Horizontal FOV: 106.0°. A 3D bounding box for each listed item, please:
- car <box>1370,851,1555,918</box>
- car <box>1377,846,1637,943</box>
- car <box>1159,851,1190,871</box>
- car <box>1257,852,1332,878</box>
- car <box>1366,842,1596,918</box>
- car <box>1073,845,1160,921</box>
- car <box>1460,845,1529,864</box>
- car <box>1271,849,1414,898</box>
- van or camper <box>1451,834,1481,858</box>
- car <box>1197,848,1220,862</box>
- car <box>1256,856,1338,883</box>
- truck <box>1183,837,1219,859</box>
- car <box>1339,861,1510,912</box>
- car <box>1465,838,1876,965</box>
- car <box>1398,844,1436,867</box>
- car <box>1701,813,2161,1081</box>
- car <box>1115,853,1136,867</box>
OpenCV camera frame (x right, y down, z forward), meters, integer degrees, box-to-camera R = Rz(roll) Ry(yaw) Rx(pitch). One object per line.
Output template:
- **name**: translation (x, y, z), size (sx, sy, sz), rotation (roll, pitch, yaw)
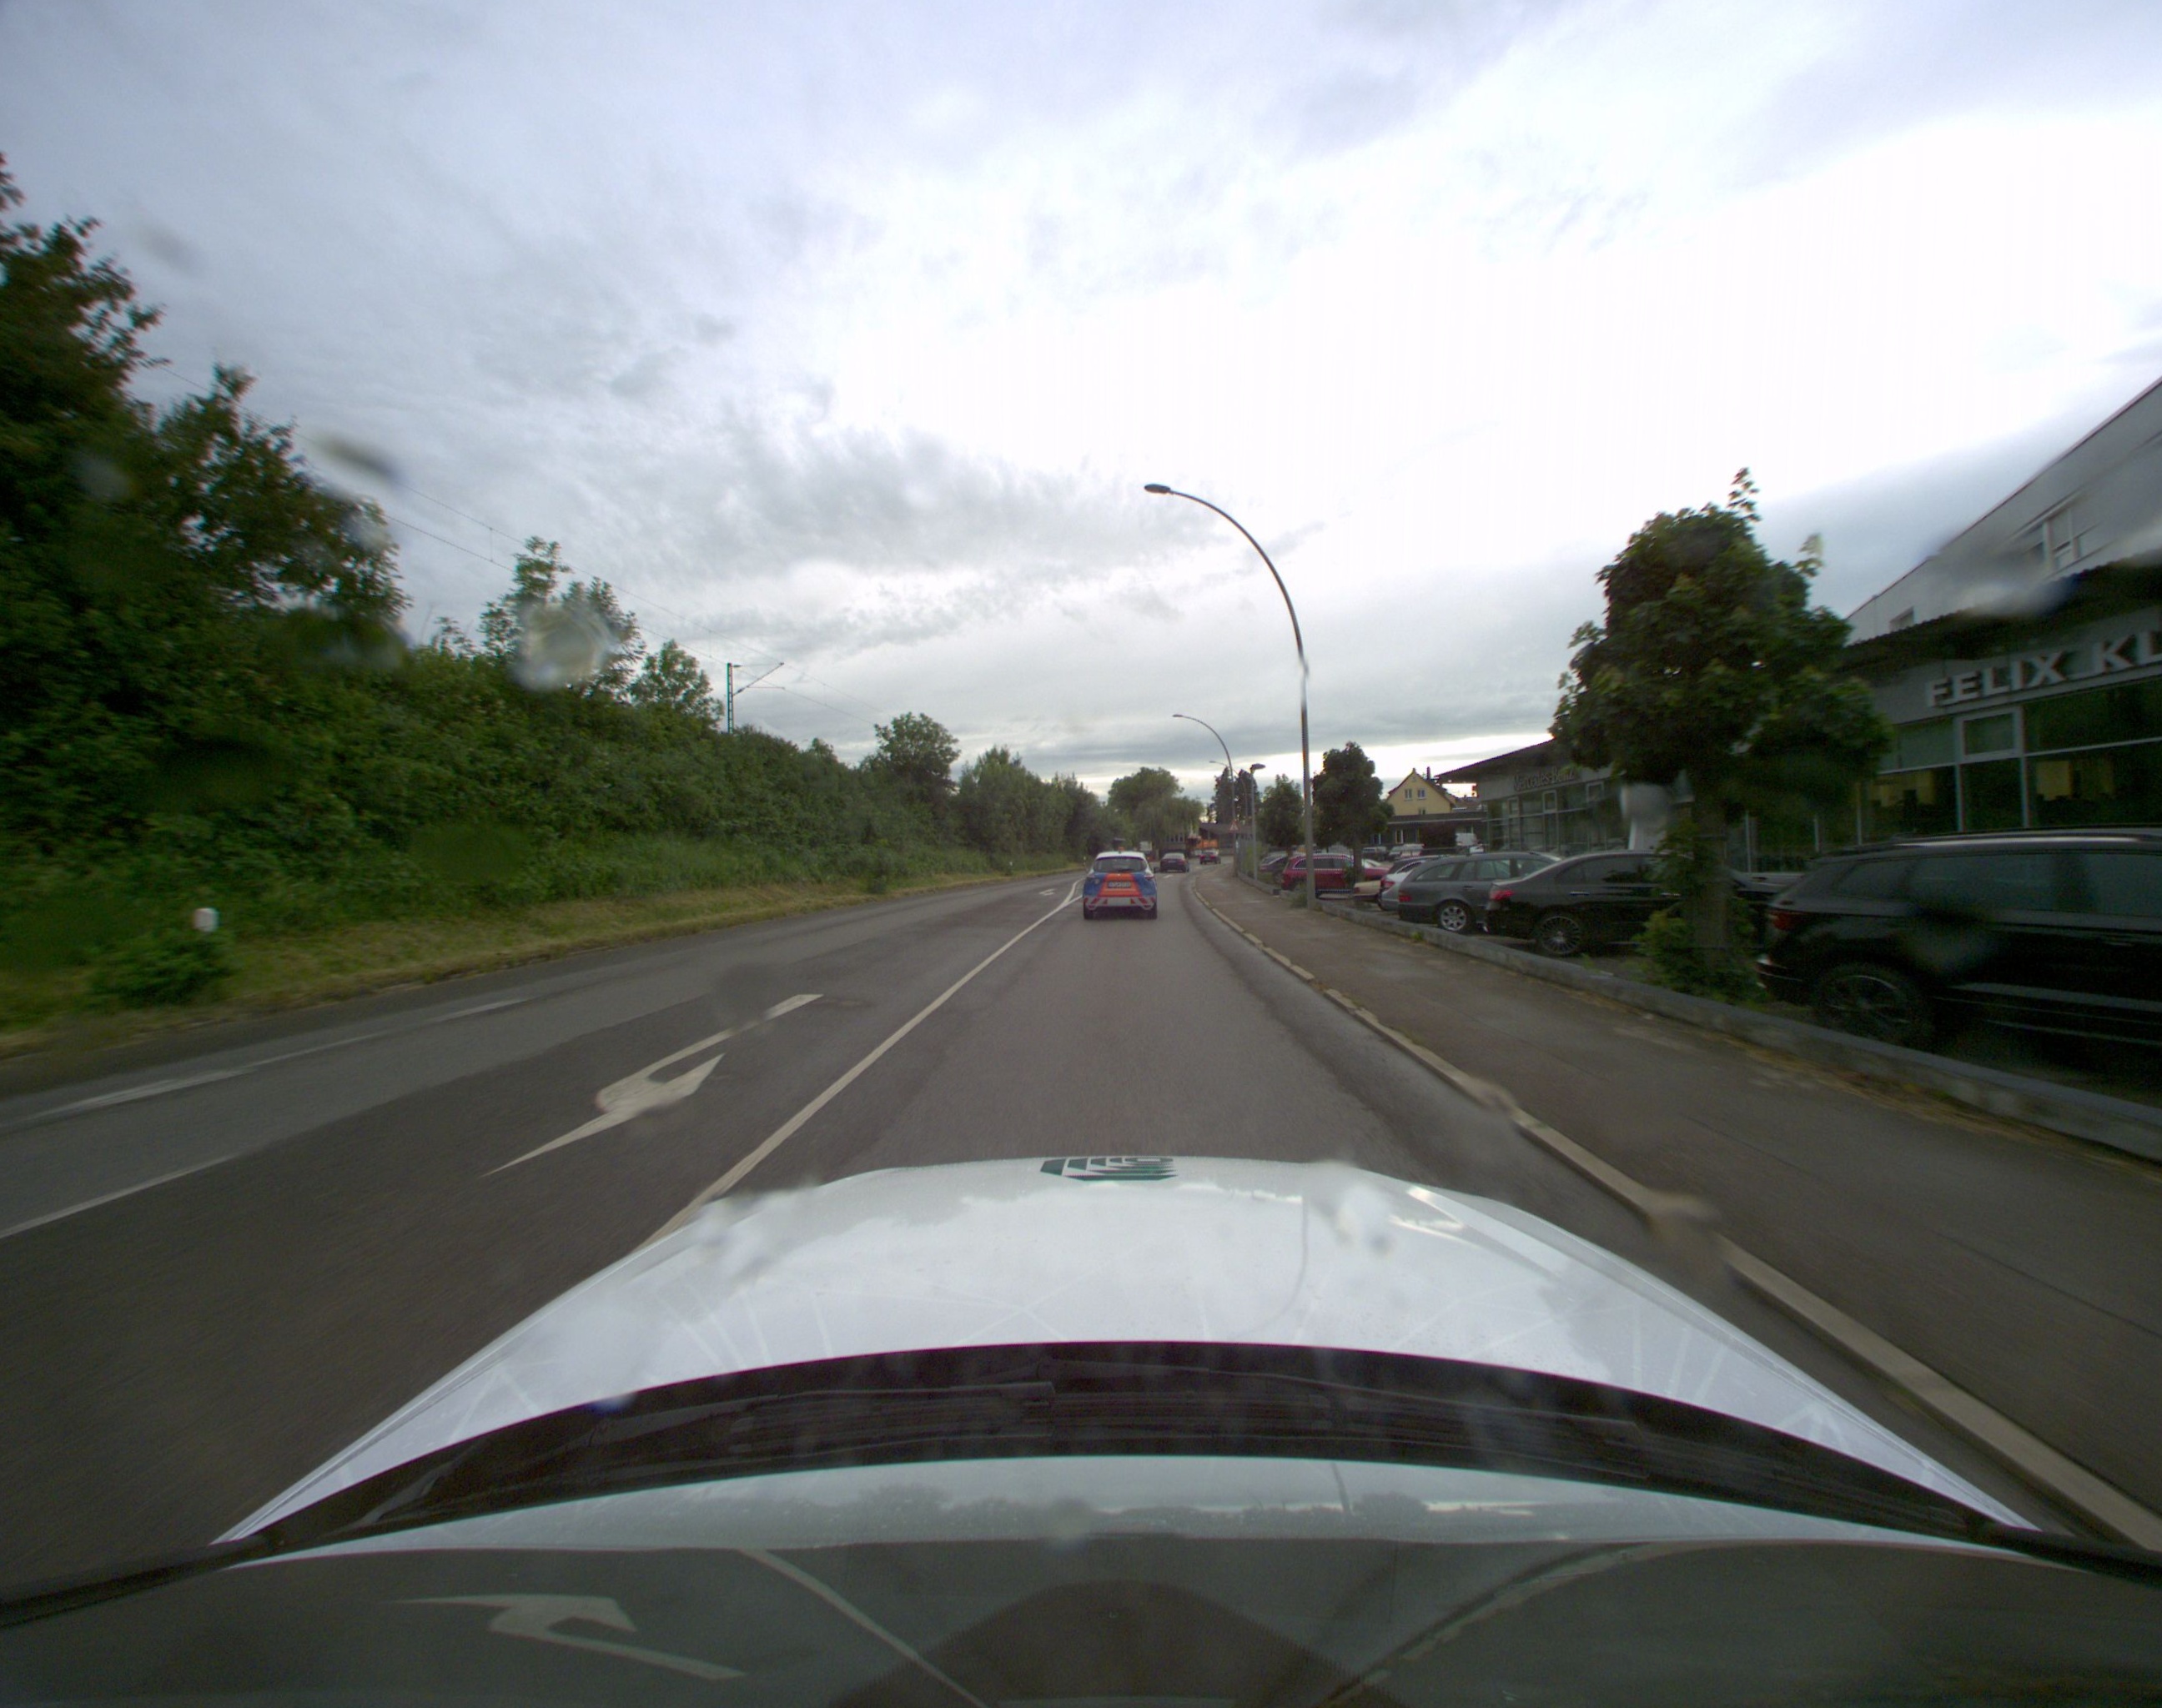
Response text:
- **car**: translation (9.507, 0.710, 20.334), size (3.918, 1.492, 1.988), rotation (1, -1, 33)
- **car**: translation (7.844, 0.662, 15.147), size (3.949, 1.556, 1.910), rotation (0, -1, 40)
- **car**: translation (6.698, 0.511, 57.950), size (1.708, 1.376, 3.948), rotation (1, -1, 13)
- **car**: translation (12.186, 0.631, 46.633), size (3.967, 1.408, 1.596), rotation (1, -1, 5)
- **car**: translation (8.558, 0.569, 17.581), size (4.120, 1.467, 1.849), rotation (-3, -2, 38)
- **car**: translation (0.863, 0.643, 20.124), size (1.881, 1.632, 4.002), rotation (-2, 0, 2)
- **car**: translation (31.595, 0.013, 62.300), size (4.591, 1.400, 1.731), rotation (1, -1, 32)
- **car**: translation (9.641, 0.697, 30.087), size (4.637, 1.662, 2.012), rotation (1, -1, 33)
- **van or camper**: translation (34.213, -0.688, 72.247), size (1.974, 1.938, 5.464), rotation (1, -1, 30)
- **car**: translation (13.495, 0.108, 86.222), size (1.979, 1.420, 4.015), rotation (1, -1, 15)
- **car**: translation (11.624, 0.828, 44.109), size (4.084, 1.370, 2.004), rotation (1, -1, 8)
- **truck**: translation (20.348, -0.991, 137.516), size (2.672, 3.412, 9.127), rotation (1, -1, 30)
- **car**: translation (9.630, 0.909, 22.962), size (4.181, 1.301, 1.746), rotation (-1, -3, 34)
- **car**: translation (8.043, 0.575, 11.574), size (4.385, 1.479, 1.947), rotation (-1, 0, 36)
- **car**: translation (22.336, 0.099, 54.046), size (1.975, 1.420, 4.024), rotation (1, -1, 28)
- **car**: translation (7.235, 0.532, 5.482), size (1.846, 1.608, 4.510), rotation (-2, 1, -26)
- **car**: translation (4.965, 0.646, 89.814), size (1.983, 1.474, 4.708), rotation (1, -1, 6)
